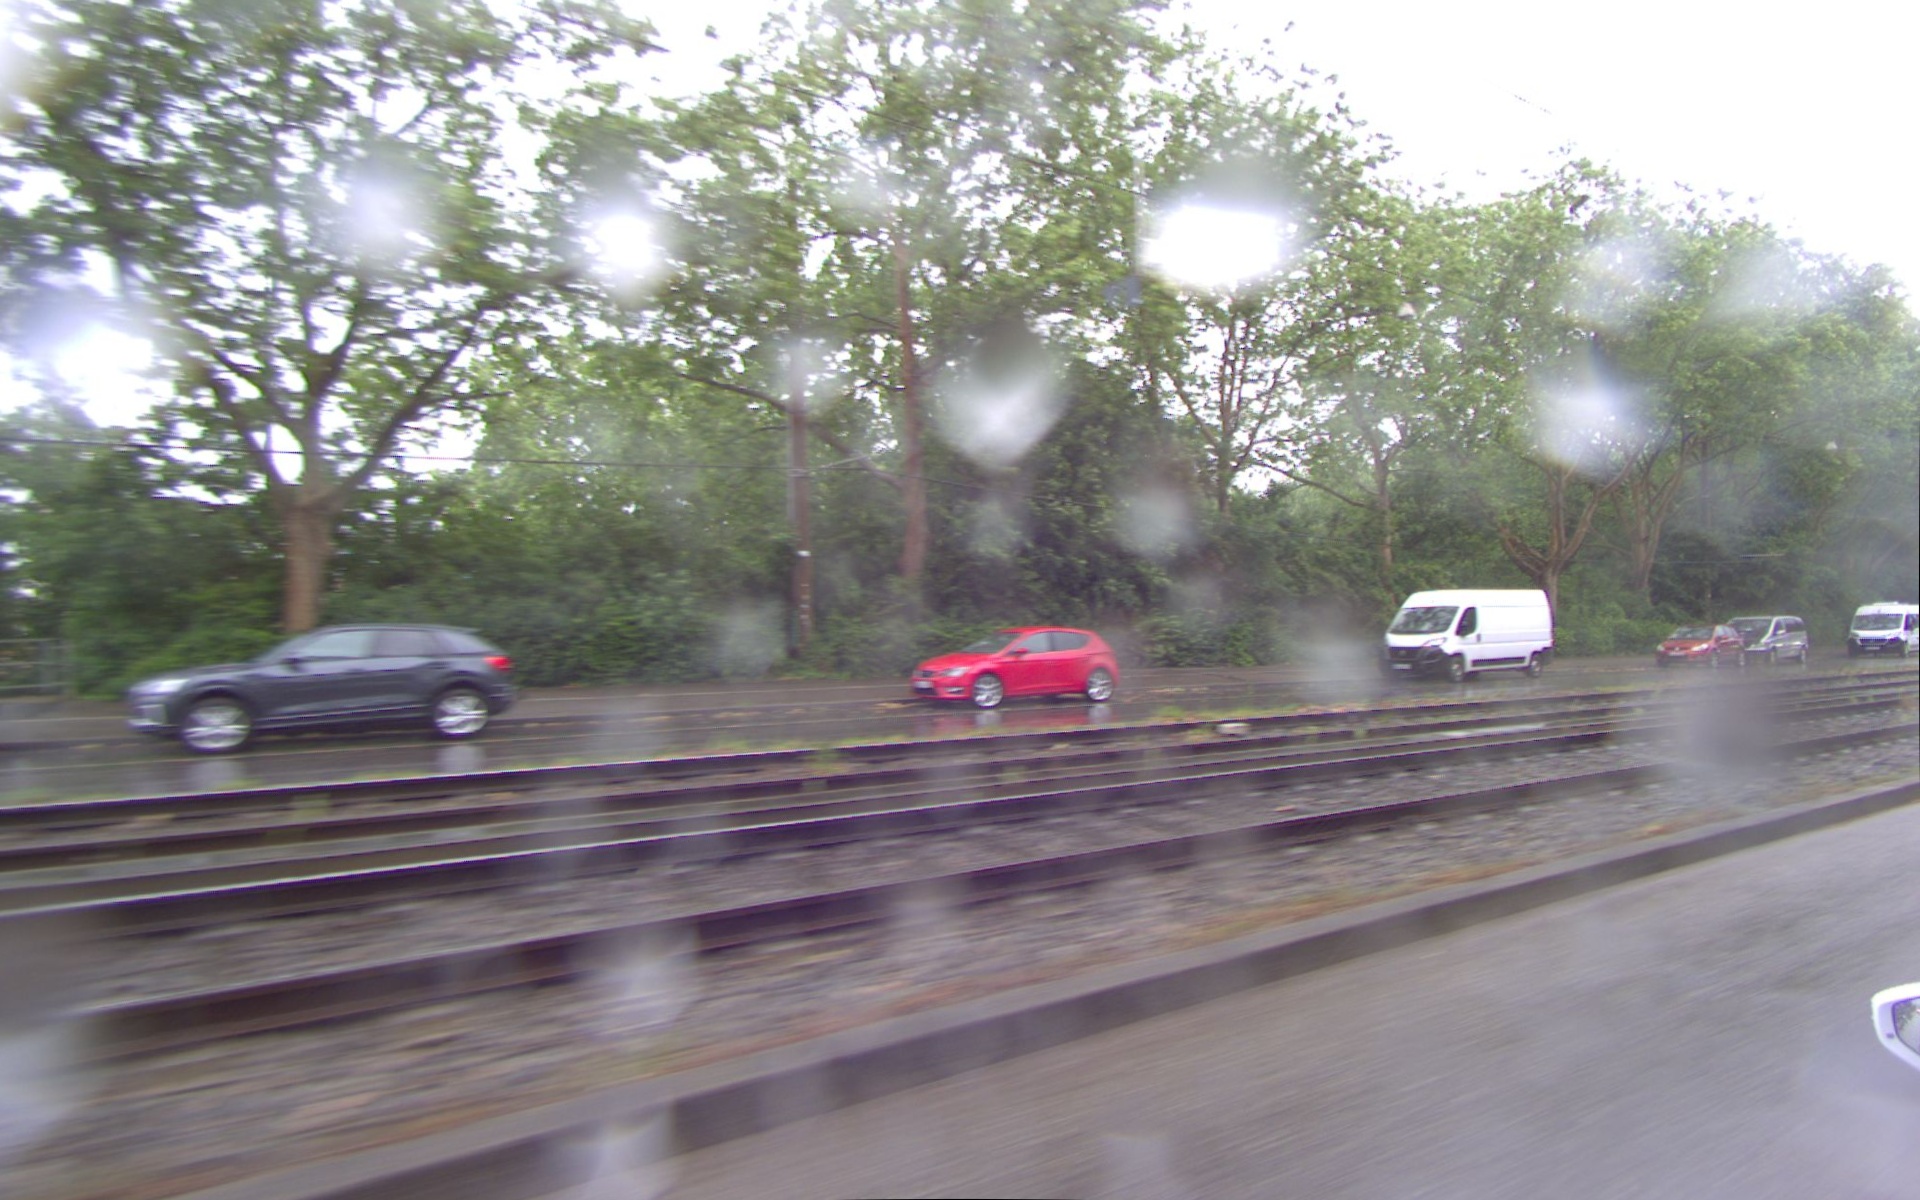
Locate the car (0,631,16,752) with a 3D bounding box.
[{"bbox_3d":[-12.513,1.022,10.223,3.923,1.397,1.874,1,-2,-34],"label":"car"}]

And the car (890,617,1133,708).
[{"bbox_3d":[1.030,1.114,19.320,4.337,1.573,2.022,1,-1,-33],"label":"car"}]

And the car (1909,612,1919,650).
[{"bbox_3d":[42.617,1.310,42.936,4.946,1.572,2.020,1,-2,-35],"label":"car"}]

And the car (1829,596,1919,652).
[{"bbox_3d":[44.613,1.168,48.580,6.500,2.574,2.374,1,-2,-35],"label":"car"}]

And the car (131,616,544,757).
[{"bbox_3d":[-8.018,1.017,13.284,4.340,1.572,2.020,1,-2,-35],"label":"car"}]

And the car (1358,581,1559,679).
[{"bbox_3d":[13.954,0.846,27.991,6.075,2.478,2.316,1,-2,-34],"label":"car"}]

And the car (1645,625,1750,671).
[{"bbox_3d":[26.755,1.694,36.413,3.982,1.572,1.807,1,-2,-33],"label":"car"}]

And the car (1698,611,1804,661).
[{"bbox_3d":[31.146,1.399,39.510,4.591,1.886,1.945,1,-2,-33],"label":"car"}]
